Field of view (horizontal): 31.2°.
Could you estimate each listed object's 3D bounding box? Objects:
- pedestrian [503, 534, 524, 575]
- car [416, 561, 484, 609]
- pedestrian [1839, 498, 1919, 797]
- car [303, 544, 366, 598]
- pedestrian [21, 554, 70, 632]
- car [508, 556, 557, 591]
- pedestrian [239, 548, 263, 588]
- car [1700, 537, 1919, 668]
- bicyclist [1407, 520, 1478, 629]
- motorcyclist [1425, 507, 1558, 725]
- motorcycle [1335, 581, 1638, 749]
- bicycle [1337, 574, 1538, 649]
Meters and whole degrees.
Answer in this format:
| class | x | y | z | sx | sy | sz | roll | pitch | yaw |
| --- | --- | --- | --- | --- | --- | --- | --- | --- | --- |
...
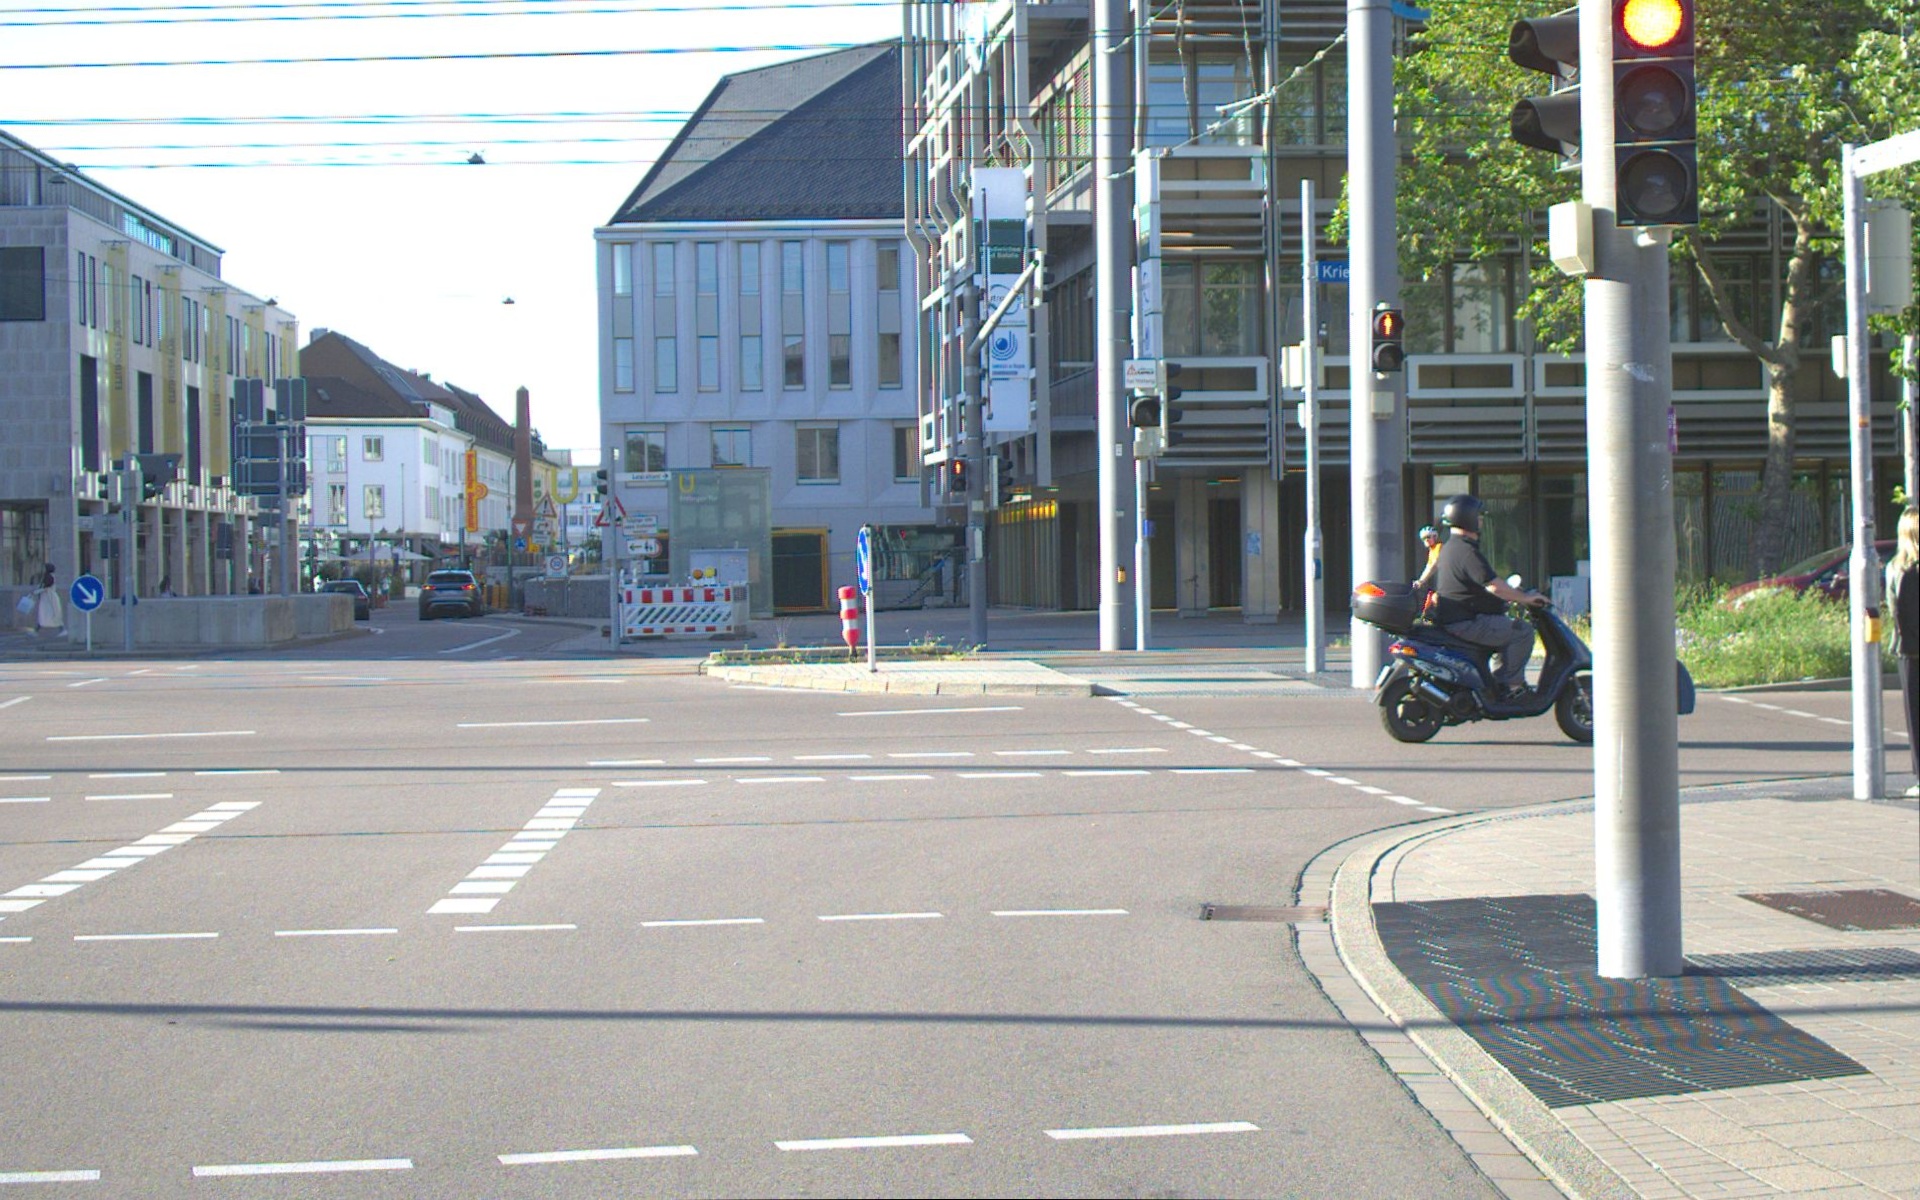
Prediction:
| class | x | y | z | sx | sy | sz | roll | pitch | yaw |
| --- | --- | --- | --- | --- | --- | --- | --- | --- | --- |
| pedestrian | -21.390 | -2.162 | 164.686 | 0.910 | 1.958 | 0.823 | 1 | 0 | -1 |
| car | -16.014 | -0.483 | 108.079 | 1.658 | 1.453 | 3.542 | -1 | 1 | -1 |
| pedestrian | 5.358 | 0.246 | 18.959 | 0.765 | 1.608 | 0.874 | -1 | 1 | -2 |
| car | -20.234 | -0.947 | 111.288 | 1.819 | 1.678 | 4.001 | -1 | 1 | -8 |
| pedestrian | -21.160 | -0.160 | 79.516 | 0.899 | 1.776 | 0.808 | -1 | 1 | -1 |
| car | -18.138 | -1.131 | 146.044 | 1.658 | 1.453 | 3.542 | -1 | 1 | -1 |
| pedestrian | -28.947 | -1.311 | 140.311 | 0.683 | 1.593 | 0.838 | -1 | 1 | 9 |
| car | 12.387 | 0.001 | 46.416 | 4.287 | 1.678 | 1.826 | -1 | 1 | -11 |
| bicyclist | 6.611 | -0.356 | 47.126 | 0.822 | 1.469 | 0.652 | -1 | 1 | -4 |
| motorcyclist | 3.657 | 0.104 | 23.689 | 0.749 | 1.474 | 0.599 | -1 | 1 | -8 |
| motorcycle | 3.619 | 0.437 | 23.688 | 1.954 | 1.097 | 0.649 | -1 | 1 | -8 |
| bicycle | 6.529 | 0.151 | 47.120 | 2.568 | 0.972 | 1.047 | -1 | 1 | -3 |
